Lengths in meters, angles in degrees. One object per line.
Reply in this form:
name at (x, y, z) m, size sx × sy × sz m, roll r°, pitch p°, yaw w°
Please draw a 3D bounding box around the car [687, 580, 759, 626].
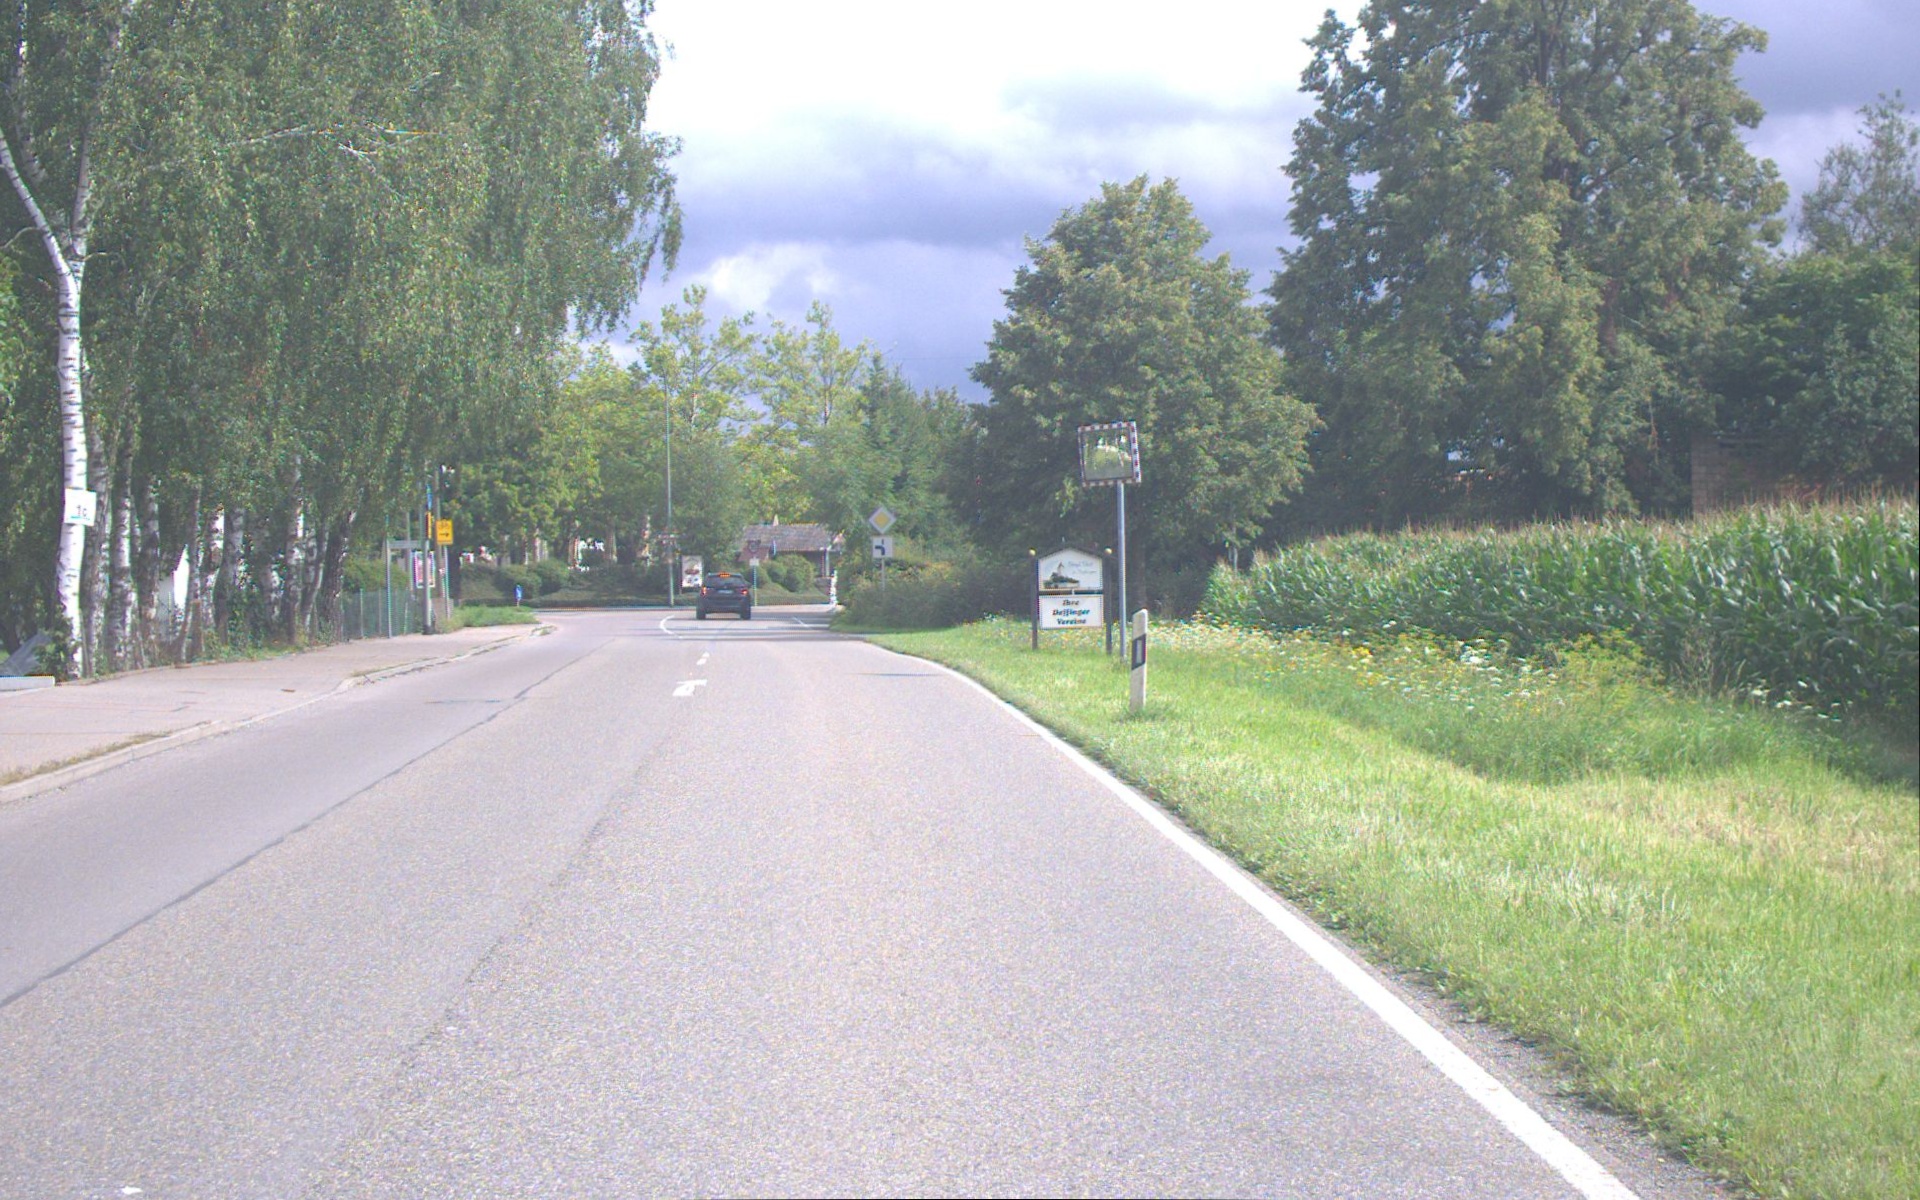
car at (-8.508, 0.103, 123.172) m, size 1.993 × 1.579 × 4.001 m, roll 0°, pitch 1°, yaw -12°
